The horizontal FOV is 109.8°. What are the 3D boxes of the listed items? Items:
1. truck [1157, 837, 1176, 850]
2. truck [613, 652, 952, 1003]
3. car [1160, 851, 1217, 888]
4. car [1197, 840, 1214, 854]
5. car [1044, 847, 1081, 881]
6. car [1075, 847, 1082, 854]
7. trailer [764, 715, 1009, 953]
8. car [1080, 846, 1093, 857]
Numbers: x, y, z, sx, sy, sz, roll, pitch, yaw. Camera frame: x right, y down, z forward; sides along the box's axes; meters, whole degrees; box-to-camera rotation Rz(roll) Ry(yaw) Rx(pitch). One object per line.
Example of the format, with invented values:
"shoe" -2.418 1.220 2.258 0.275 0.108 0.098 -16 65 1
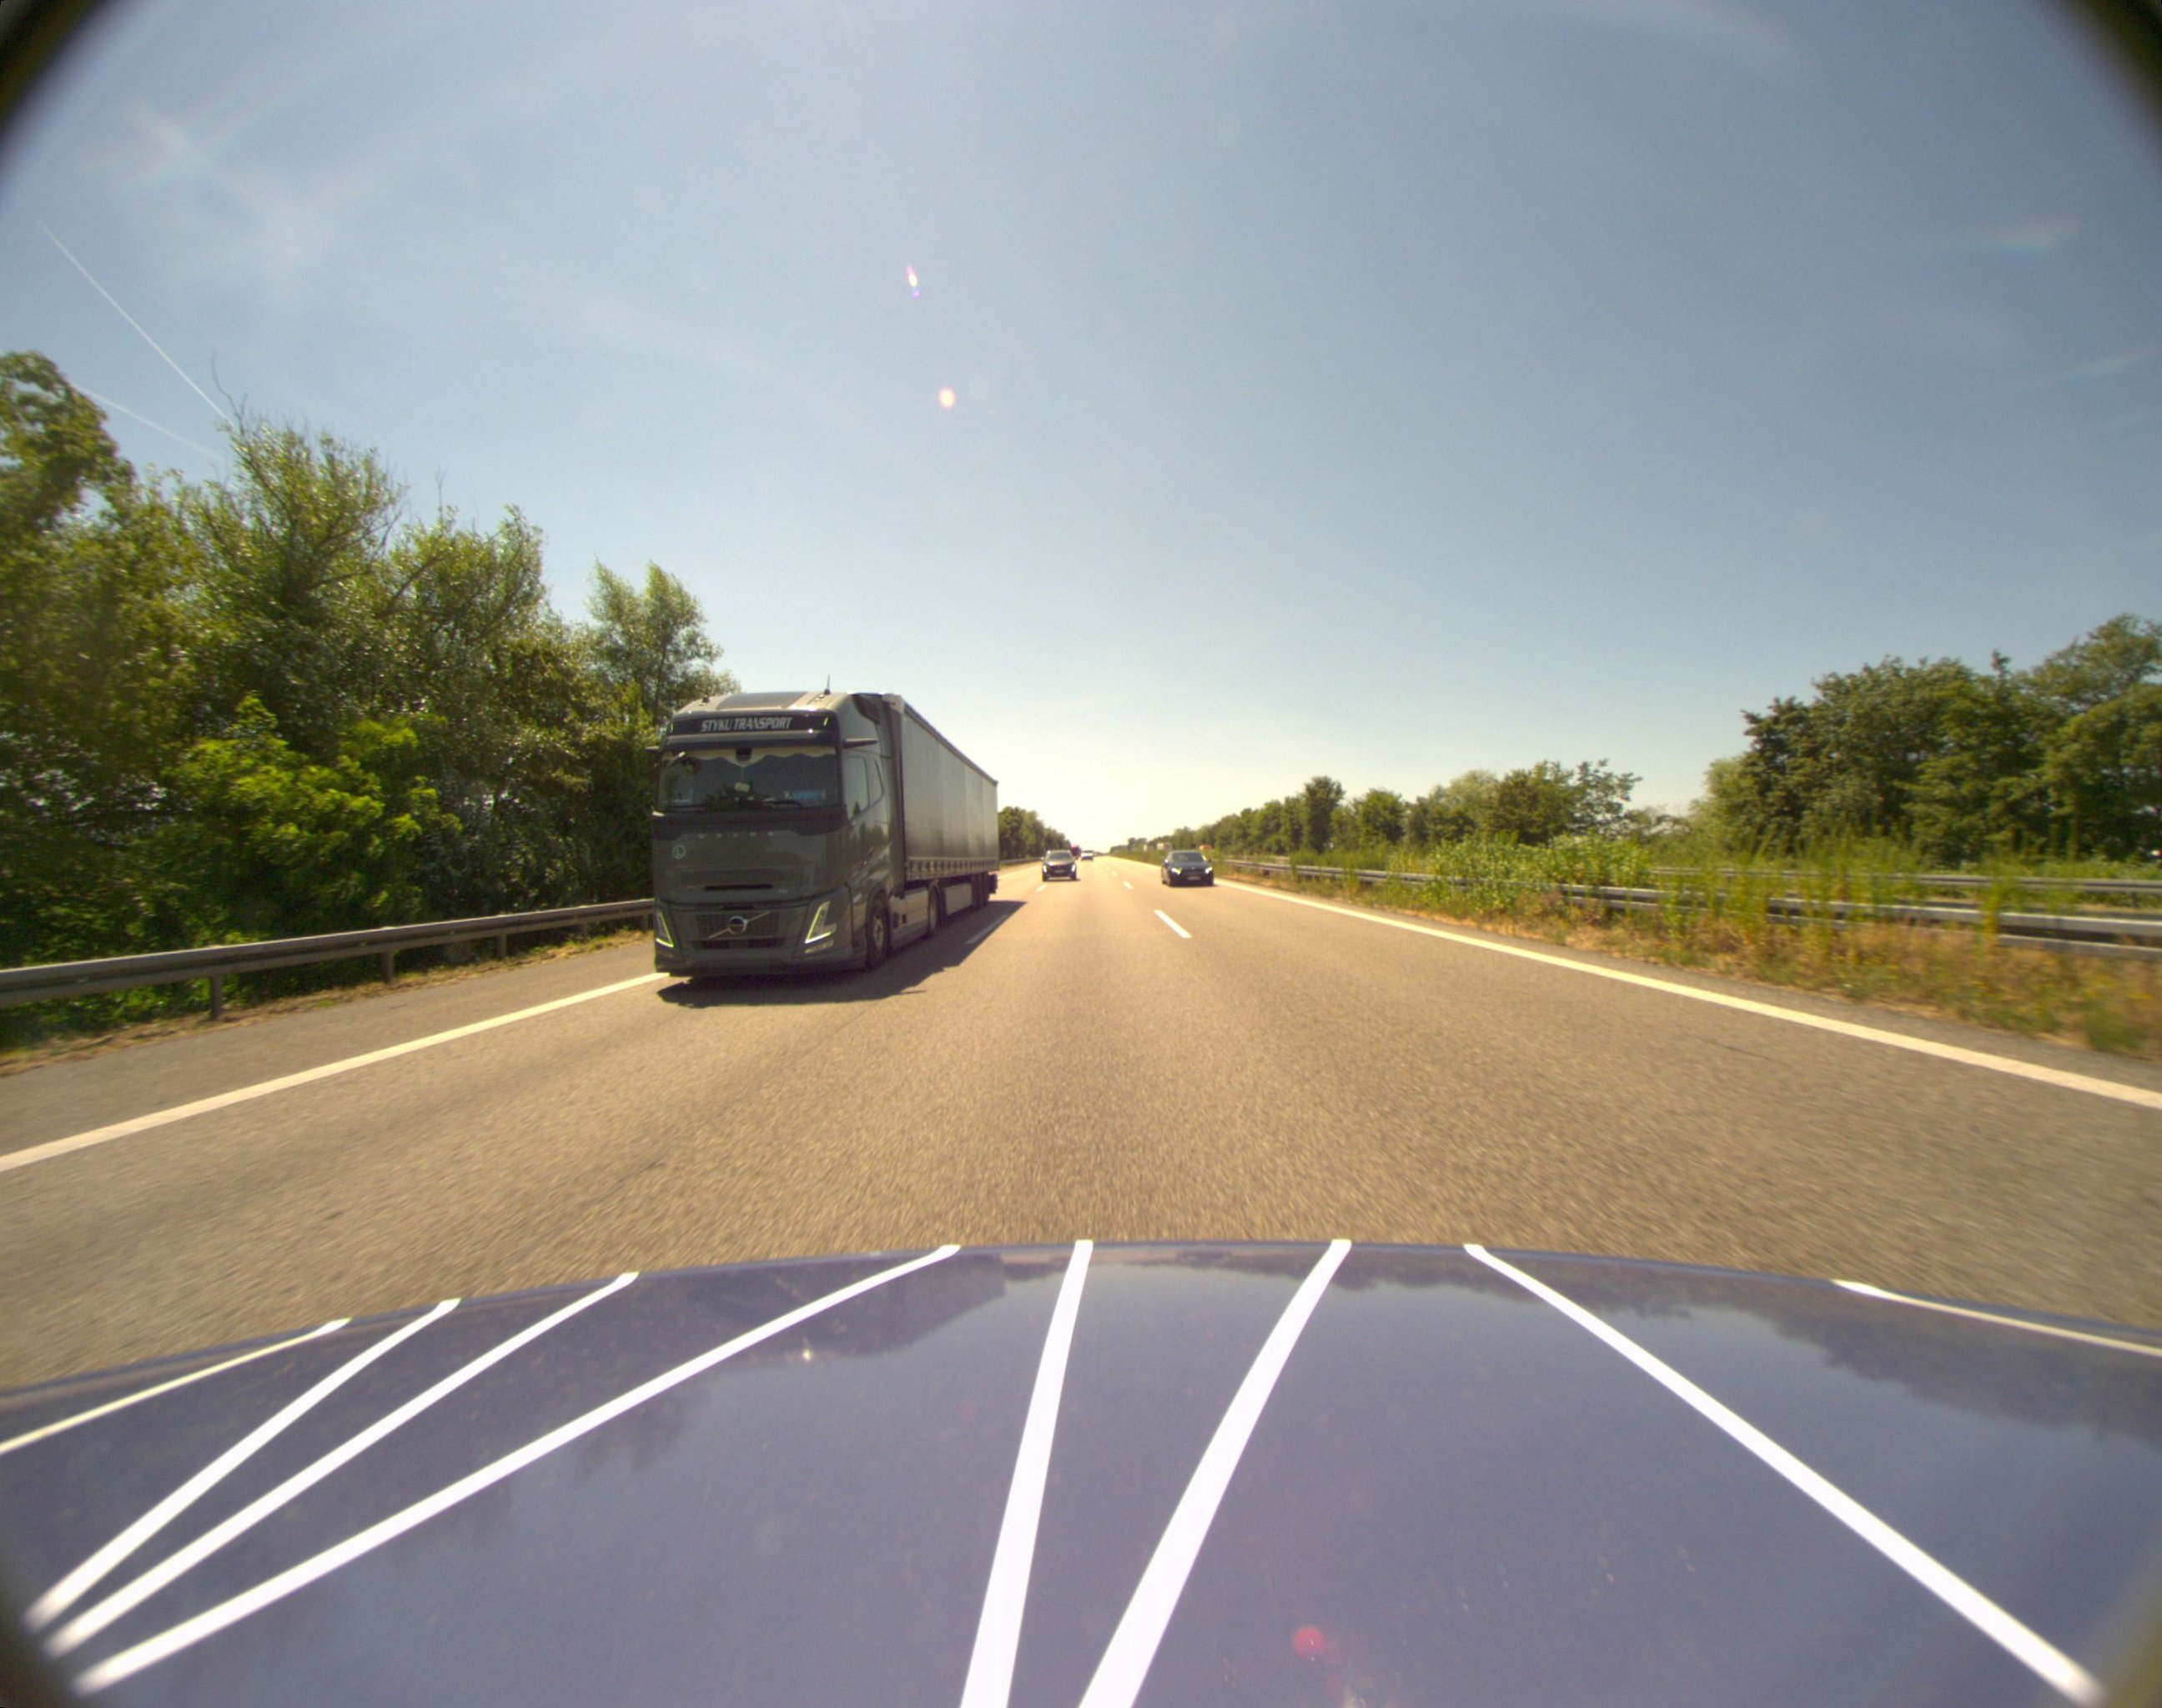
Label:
"truck" 24.330 -2.963 216.146 4.121 3.418 10.688 -2 1 1
"truck" -3.960 -0.321 11.939 2.559 3.932 6.513 -2 1 1
"car" 4.377 0.598 31.415 1.796 1.403 4.052 -1 1 1
"car" 22.958 -1.337 139.787 2.187 2.423 4.954 1 1 -1
"car" -0.951 0.508 41.358 1.796 1.696 4.000 -2 1 1
"car" -0.801 -1.197 238.218 1.998 2.002 4.000 -2 1 1
"trailer" -3.911 -0.387 19.578 2.559 3.931 13.537 -2 0 1
"car" 0.900 -0.404 125.023 2.147 1.810 5.267 -2 1 1
